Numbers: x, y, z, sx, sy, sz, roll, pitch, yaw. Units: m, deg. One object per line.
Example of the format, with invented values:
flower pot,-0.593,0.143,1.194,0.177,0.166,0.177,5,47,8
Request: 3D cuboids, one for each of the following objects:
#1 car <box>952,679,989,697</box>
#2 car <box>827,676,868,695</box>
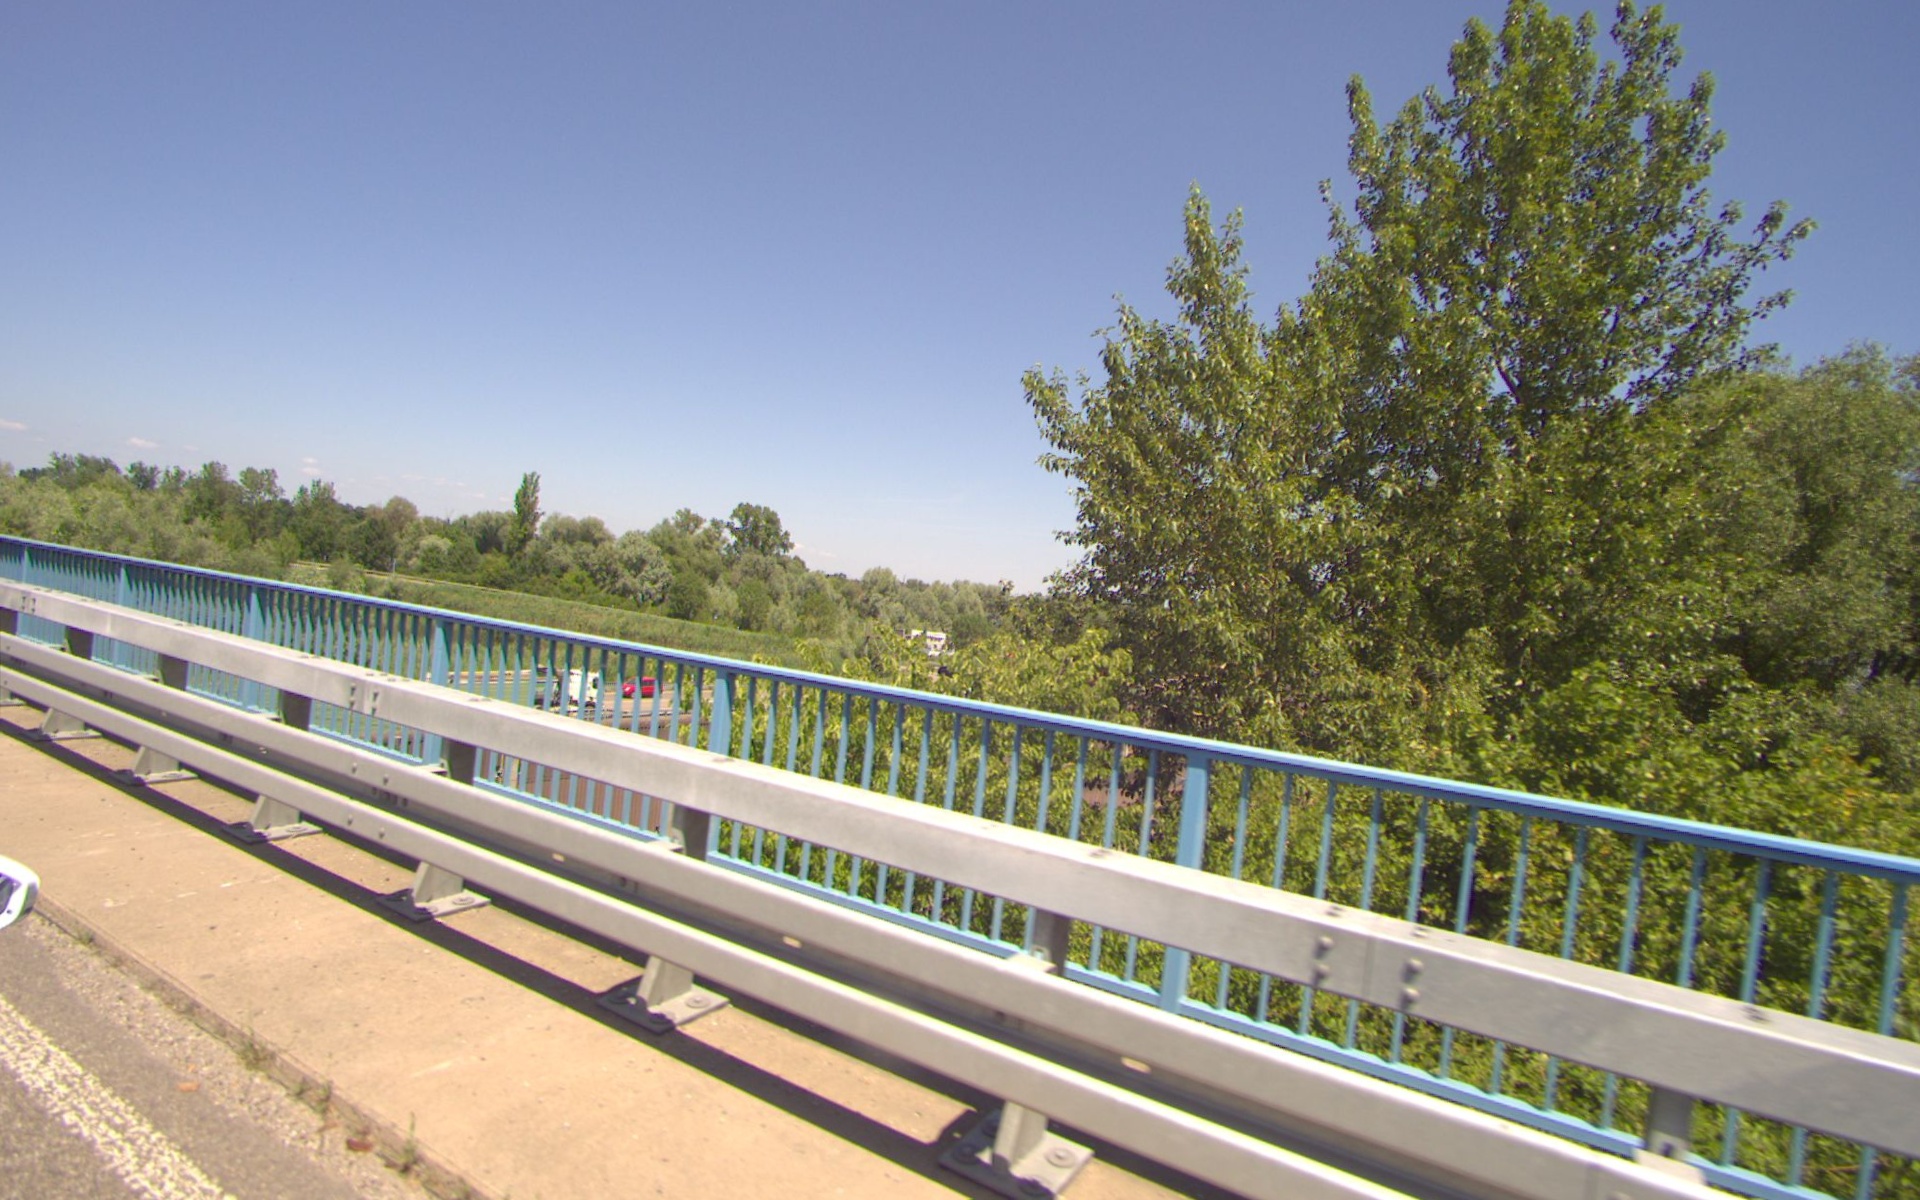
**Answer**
car,1.231,9.857,112.883,1.968,1.638,4.232,8,1,34
car,-11.739,8.918,105.204,1.967,1.638,4.233,8,1,32
